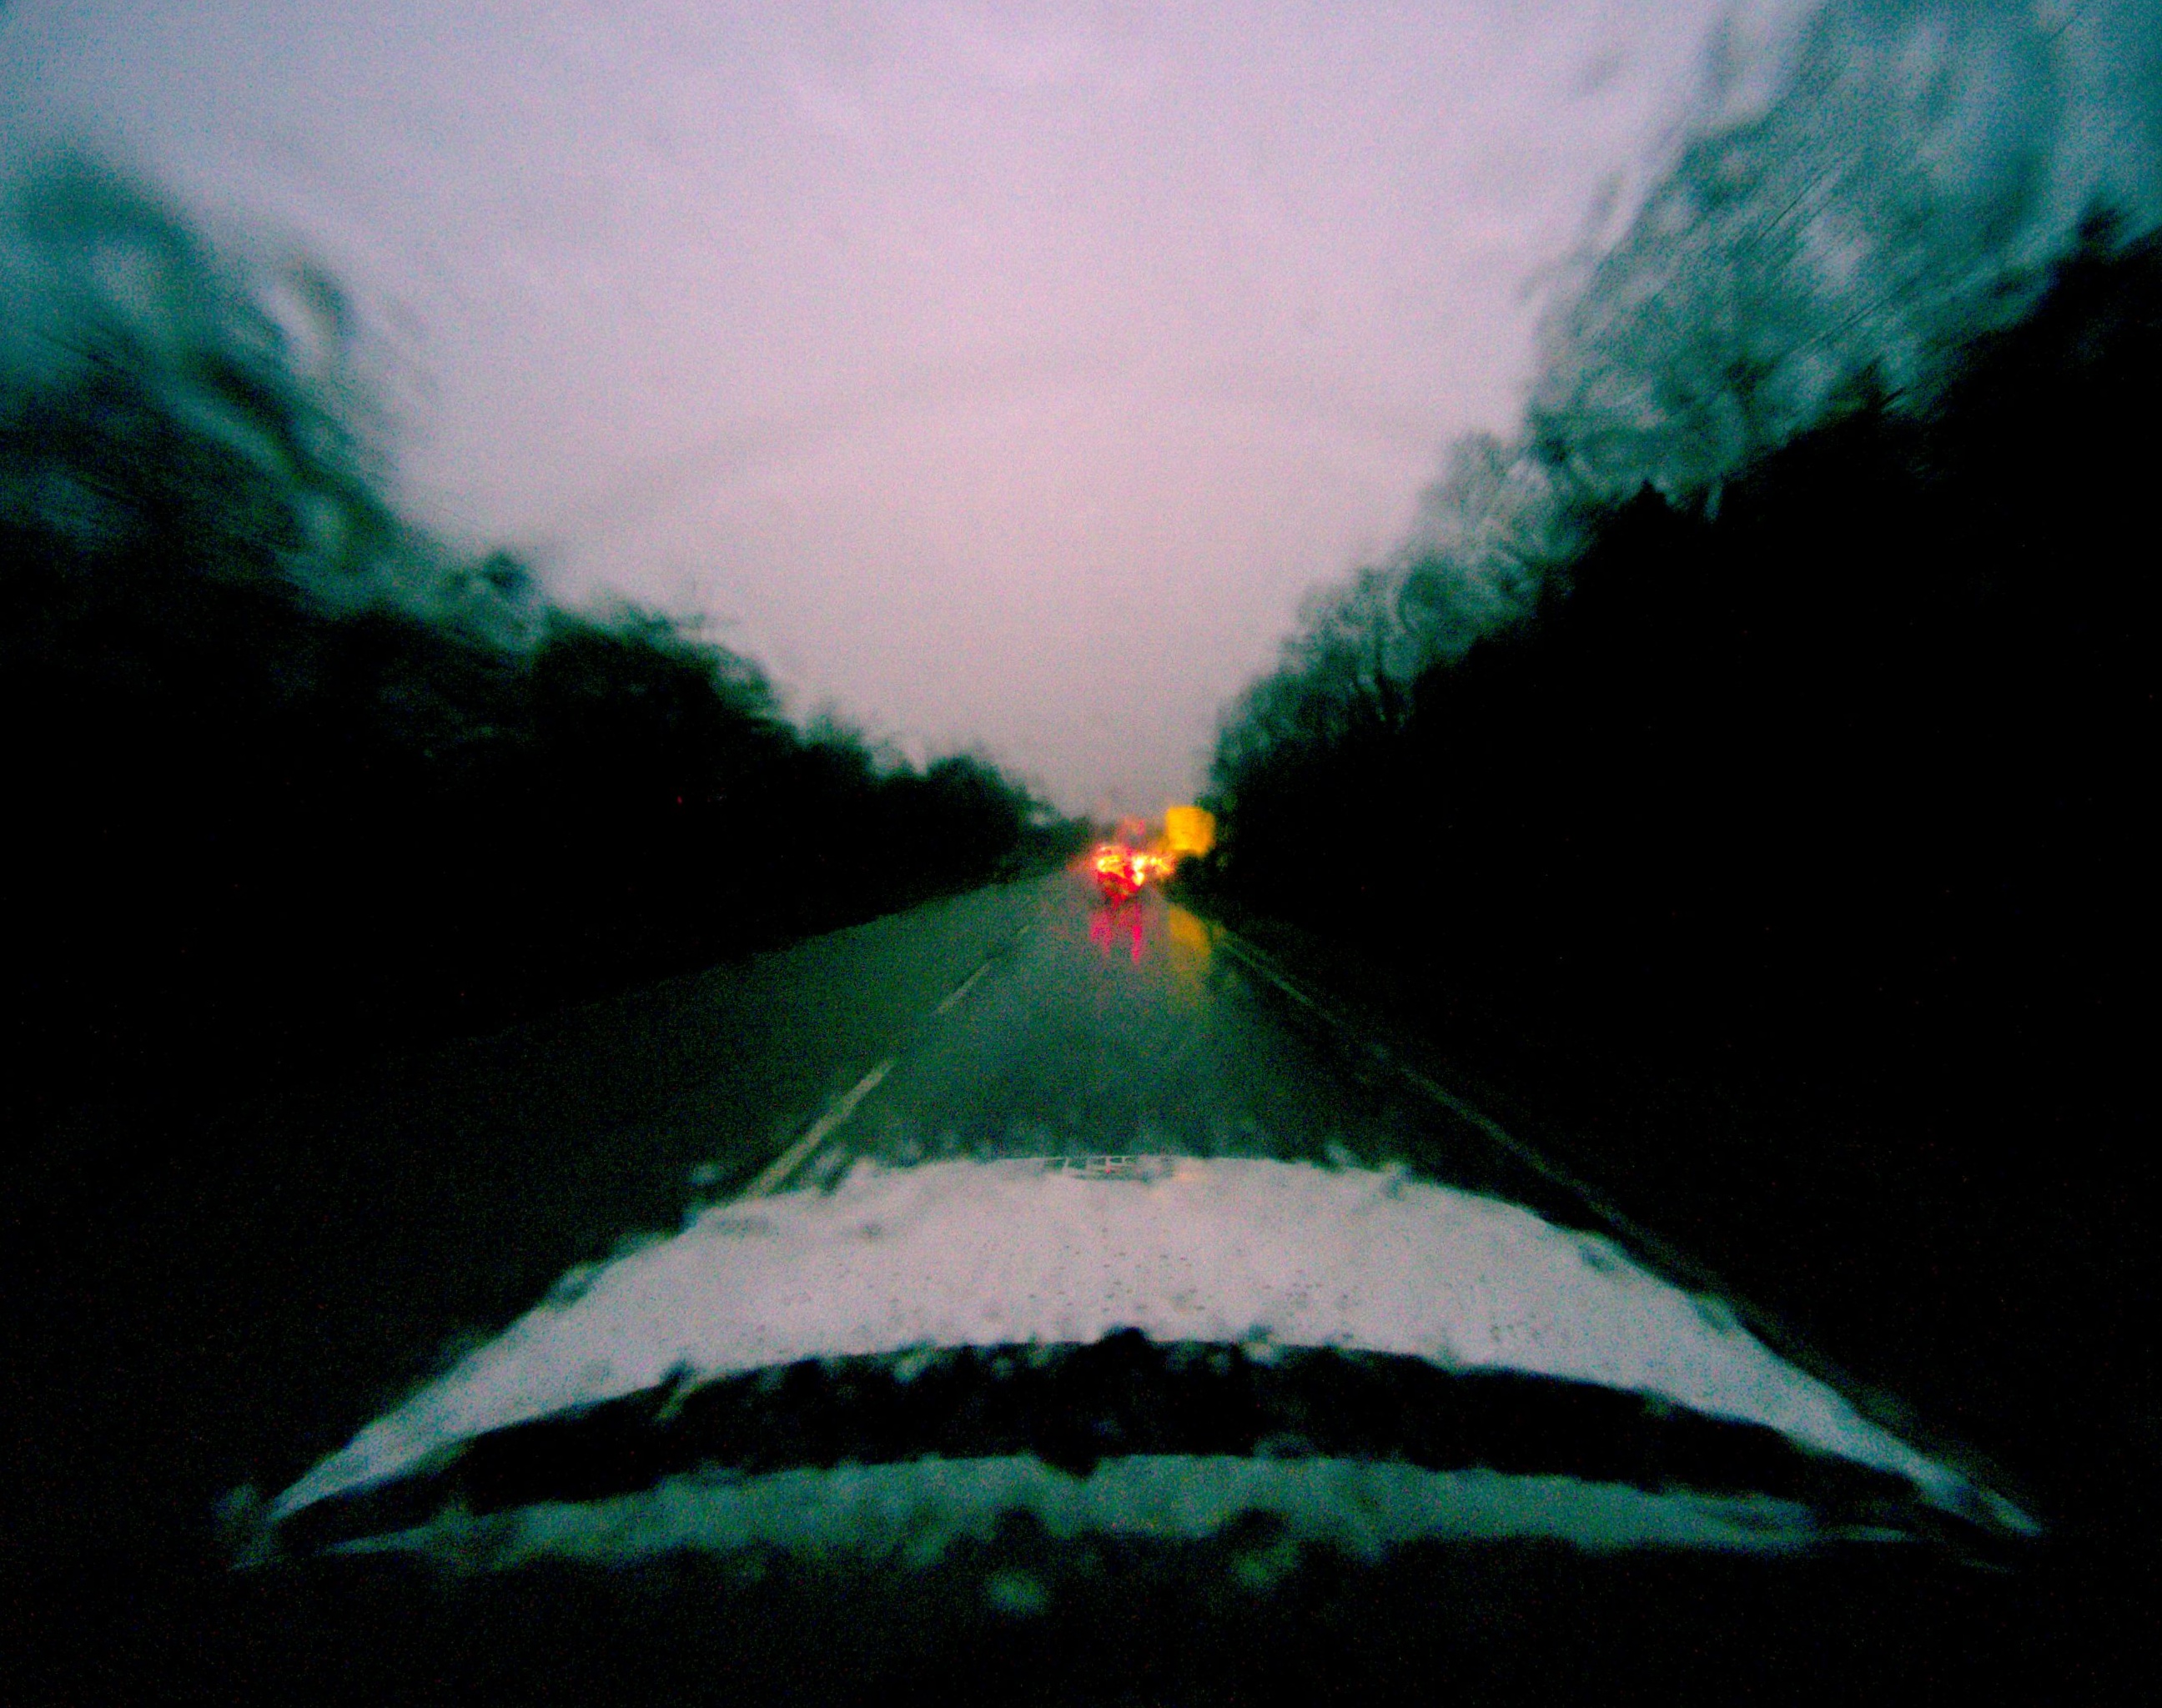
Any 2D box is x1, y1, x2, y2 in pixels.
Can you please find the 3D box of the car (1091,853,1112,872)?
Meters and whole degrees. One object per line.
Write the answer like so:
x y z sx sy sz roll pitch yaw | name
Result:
1.826 0.722 71.747 1.721 1.643 4.002 -1 0 2 | car

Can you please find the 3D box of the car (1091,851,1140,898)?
1.311 0.726 31.291 1.721 1.643 4.002 -1 0 2 | car
